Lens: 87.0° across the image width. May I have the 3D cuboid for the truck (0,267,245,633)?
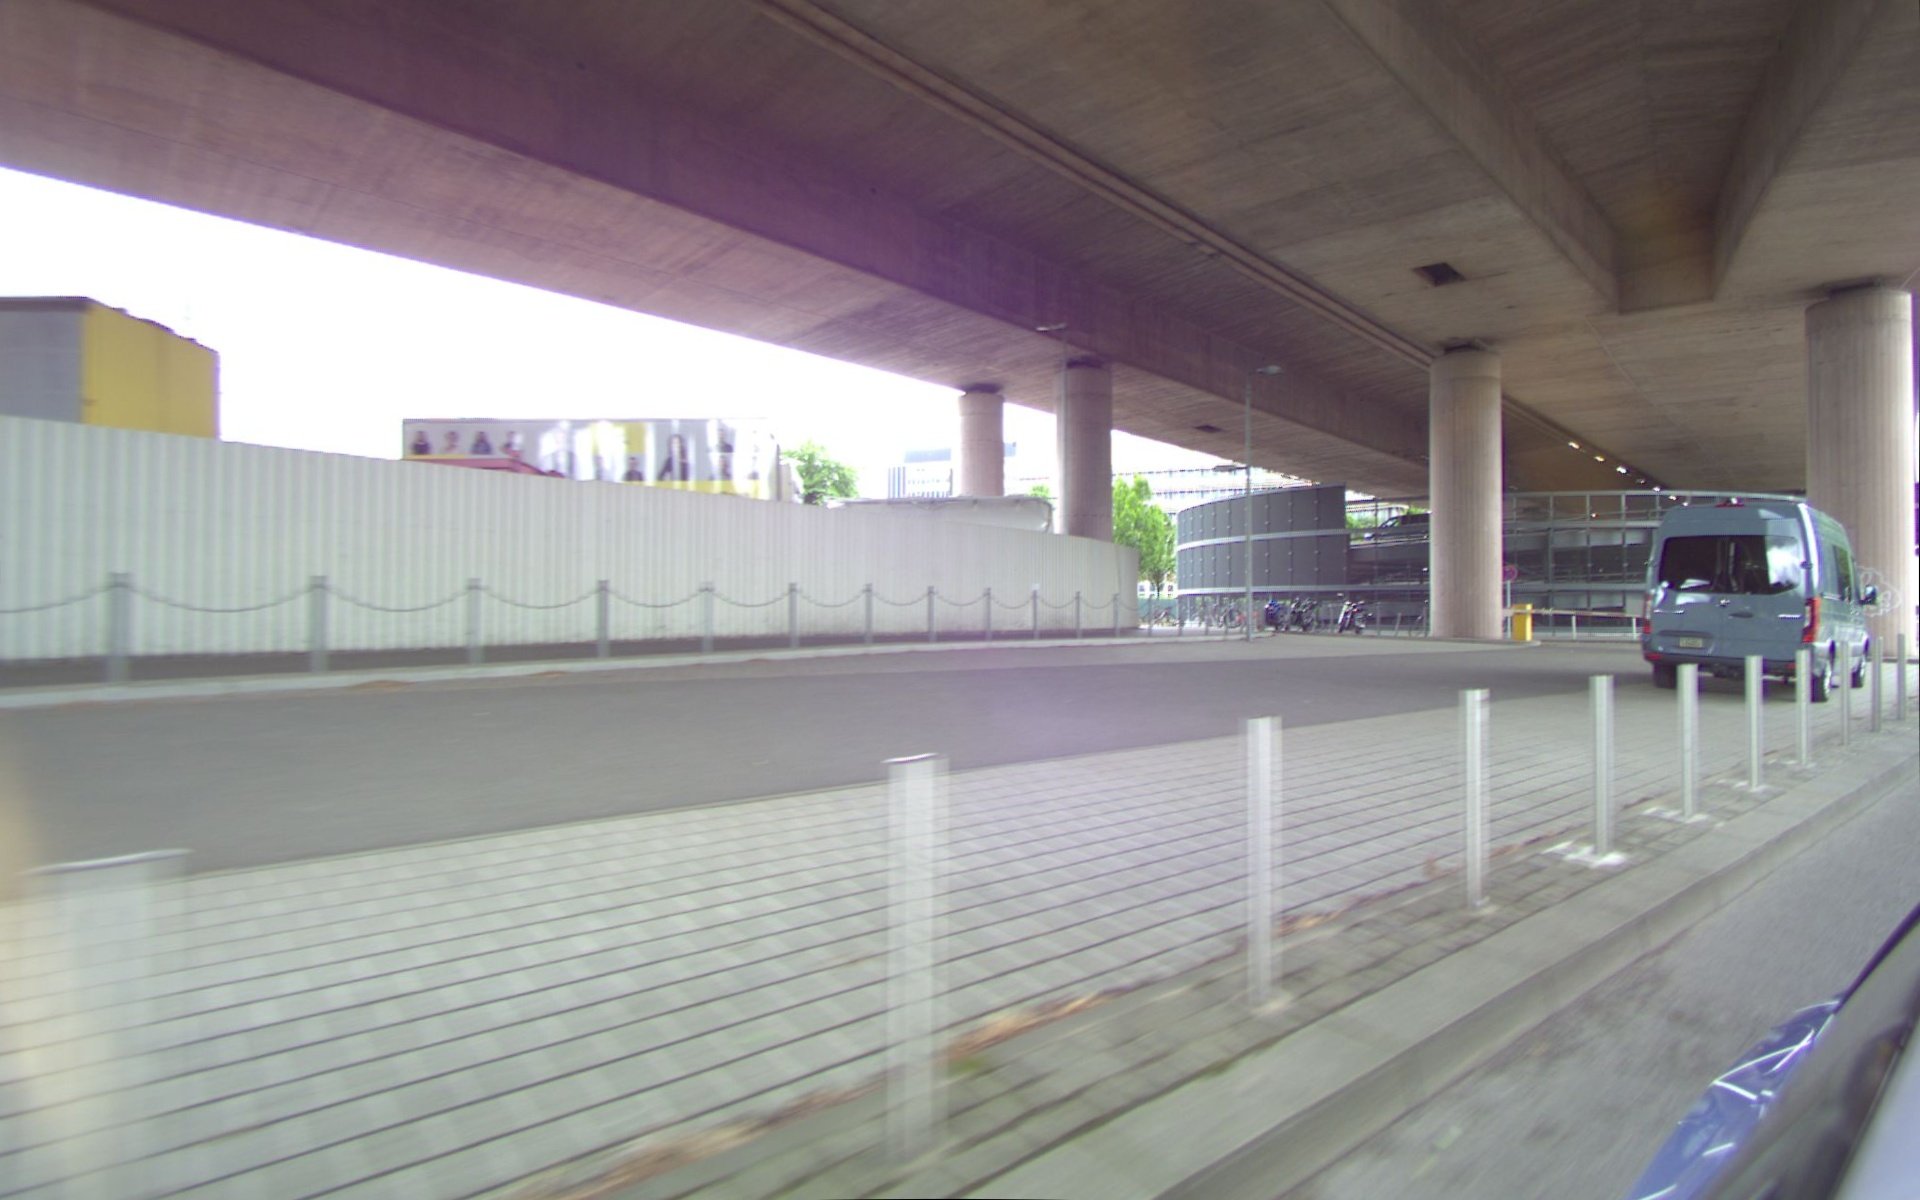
[{"bbox_3d":[-15.745,-1.973,13.751,9.531,4.499,3.151,1,1,-5],"label":"truck"}]

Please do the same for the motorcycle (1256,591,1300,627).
[{"bbox_3d":[11.333,0.332,36.016,0.571,1.120,2.294,0,-4,41],"label":"motorcycle"}]

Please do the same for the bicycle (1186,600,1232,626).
[{"bbox_3d":[10.403,0.535,42.337,0.389,1.037,2.060,2,-2,-40],"label":"bicycle"}]

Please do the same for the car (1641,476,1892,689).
[{"bbox_3d":[12.392,-0.213,15.353,5.969,2.646,1.997,1,0,-42],"label":"car"}]

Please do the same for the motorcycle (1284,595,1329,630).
[{"bbox_3d":[12.063,0.441,35.170,0.543,1.120,2.292,0,-2,44],"label":"motorcycle"}]

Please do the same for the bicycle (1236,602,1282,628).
[{"bbox_3d":[12.003,0.595,40.667,1.728,0.995,0.430,0,-2,43],"label":"bicycle"}]

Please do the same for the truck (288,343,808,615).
[{"bbox_3d":[-8.142,-2.316,21.231,9.531,4.986,3.151,1,0,-5],"label":"truck"}]

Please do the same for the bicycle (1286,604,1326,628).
[{"bbox_3d":[16.417,0.739,48.033,1.776,1.093,0.431,0,-2,34],"label":"bicycle"}]

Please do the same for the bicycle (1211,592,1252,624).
[{"bbox_3d":[10.217,0.320,38.127,0.608,1.120,2.331,4,-3,-7],"label":"bicycle"}]

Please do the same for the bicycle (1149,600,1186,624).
[{"bbox_3d":[9.052,0.533,44.255,0.428,1.037,1.734,2,-2,-36],"label":"bicycle"}]

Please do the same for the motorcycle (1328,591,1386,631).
[{"bbox_3d":[13.311,0.372,33.921,2.493,1.251,0.783,3,-1,-43],"label":"motorcycle"}]

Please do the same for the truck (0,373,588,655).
[{"bbox_3d":[-11.895,-1.379,17.402,9.867,4.236,2.901,1,1,-3],"label":"truck"}]

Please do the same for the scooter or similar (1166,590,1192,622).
[{"bbox_3d":[9.060,0.273,41.937,0.533,1.234,1.680,3,-3,-4],"label":"scooter or similar"}]

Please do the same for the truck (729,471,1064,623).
[{"bbox_3d":[-2.003,-1.614,32.333,10.094,4.357,3.015,1,1,-3],"label":"truck"}]

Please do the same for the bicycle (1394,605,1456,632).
[{"bbox_3d":[16.731,0.671,36.445,2.006,0.938,0.414,0,-2,36],"label":"bicycle"}]

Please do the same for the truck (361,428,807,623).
[{"bbox_3d":[-8.758,-1.701,24.623,9.732,4.211,2.817,1,0,-5],"label":"truck"}]
